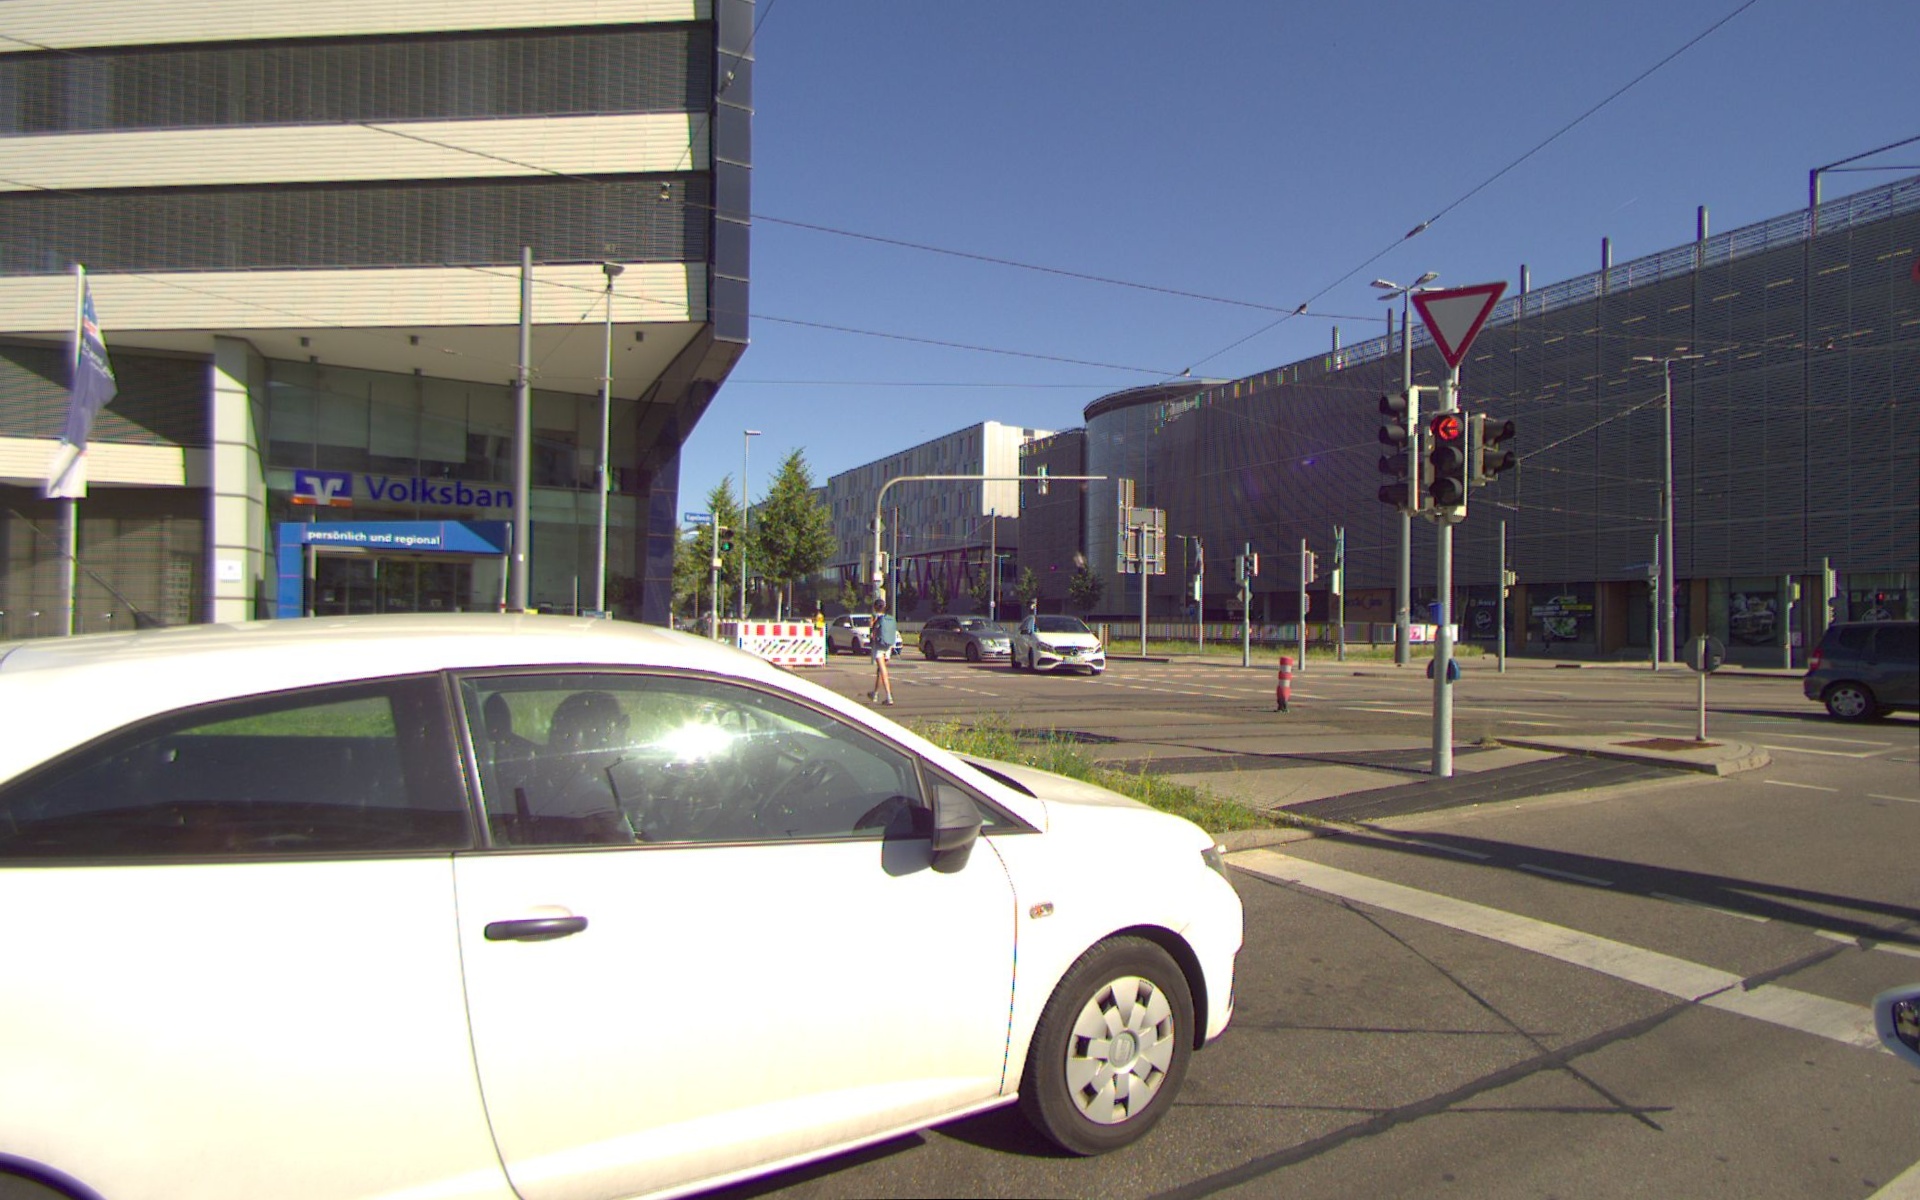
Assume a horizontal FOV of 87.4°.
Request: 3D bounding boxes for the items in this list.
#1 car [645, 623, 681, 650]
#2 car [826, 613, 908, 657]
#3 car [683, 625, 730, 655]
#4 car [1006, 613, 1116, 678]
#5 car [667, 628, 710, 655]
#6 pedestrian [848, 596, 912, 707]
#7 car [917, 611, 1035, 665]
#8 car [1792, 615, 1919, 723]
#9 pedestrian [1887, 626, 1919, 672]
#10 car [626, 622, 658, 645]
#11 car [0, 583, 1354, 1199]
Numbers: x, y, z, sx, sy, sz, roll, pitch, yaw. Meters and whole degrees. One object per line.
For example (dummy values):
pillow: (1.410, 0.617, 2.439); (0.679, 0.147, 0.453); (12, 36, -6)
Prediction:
car: (-22.137, 2.702, 74.760); (1.974, 1.873, 3.974); (1, -1, -26)
car: (-3.823, 1.399, 40.522); (1.824, 1.673, 4.221); (1, -1, -28)
car: (-15.454, 2.413, 61.153); (1.824, 1.673, 4.221); (1, -1, -28)
car: (2.444, 1.104, 25.260); (1.877, 1.483, 4.086); (1, -1, -7)
car: (-17.829, 2.720, 65.848); (1.824, 1.673, 4.221); (1, -1, -28)
pedestrian: (-1.297, 0.811, 16.167); (0.704, 1.730, 0.881); (1, -1, -30)
car: (0.439, 1.204, 32.605); (1.976, 1.637, 4.256); (1, -1, -30)
car: (14.756, 1.023, 14.628); (1.804, 1.545, 3.728); (2, -1, -34)
pedestrian: (40.145, 2.078, 42.673); (0.804, 1.893, 0.906); (1, -1, 13)
car: (-26.442, 2.772, 83.435); (1.919, 1.903, 3.910); (1, -1, -26)
car: (-0.858, 0.743, 2.769); (3.738, 1.442, 1.624); (2, 1, -30)
